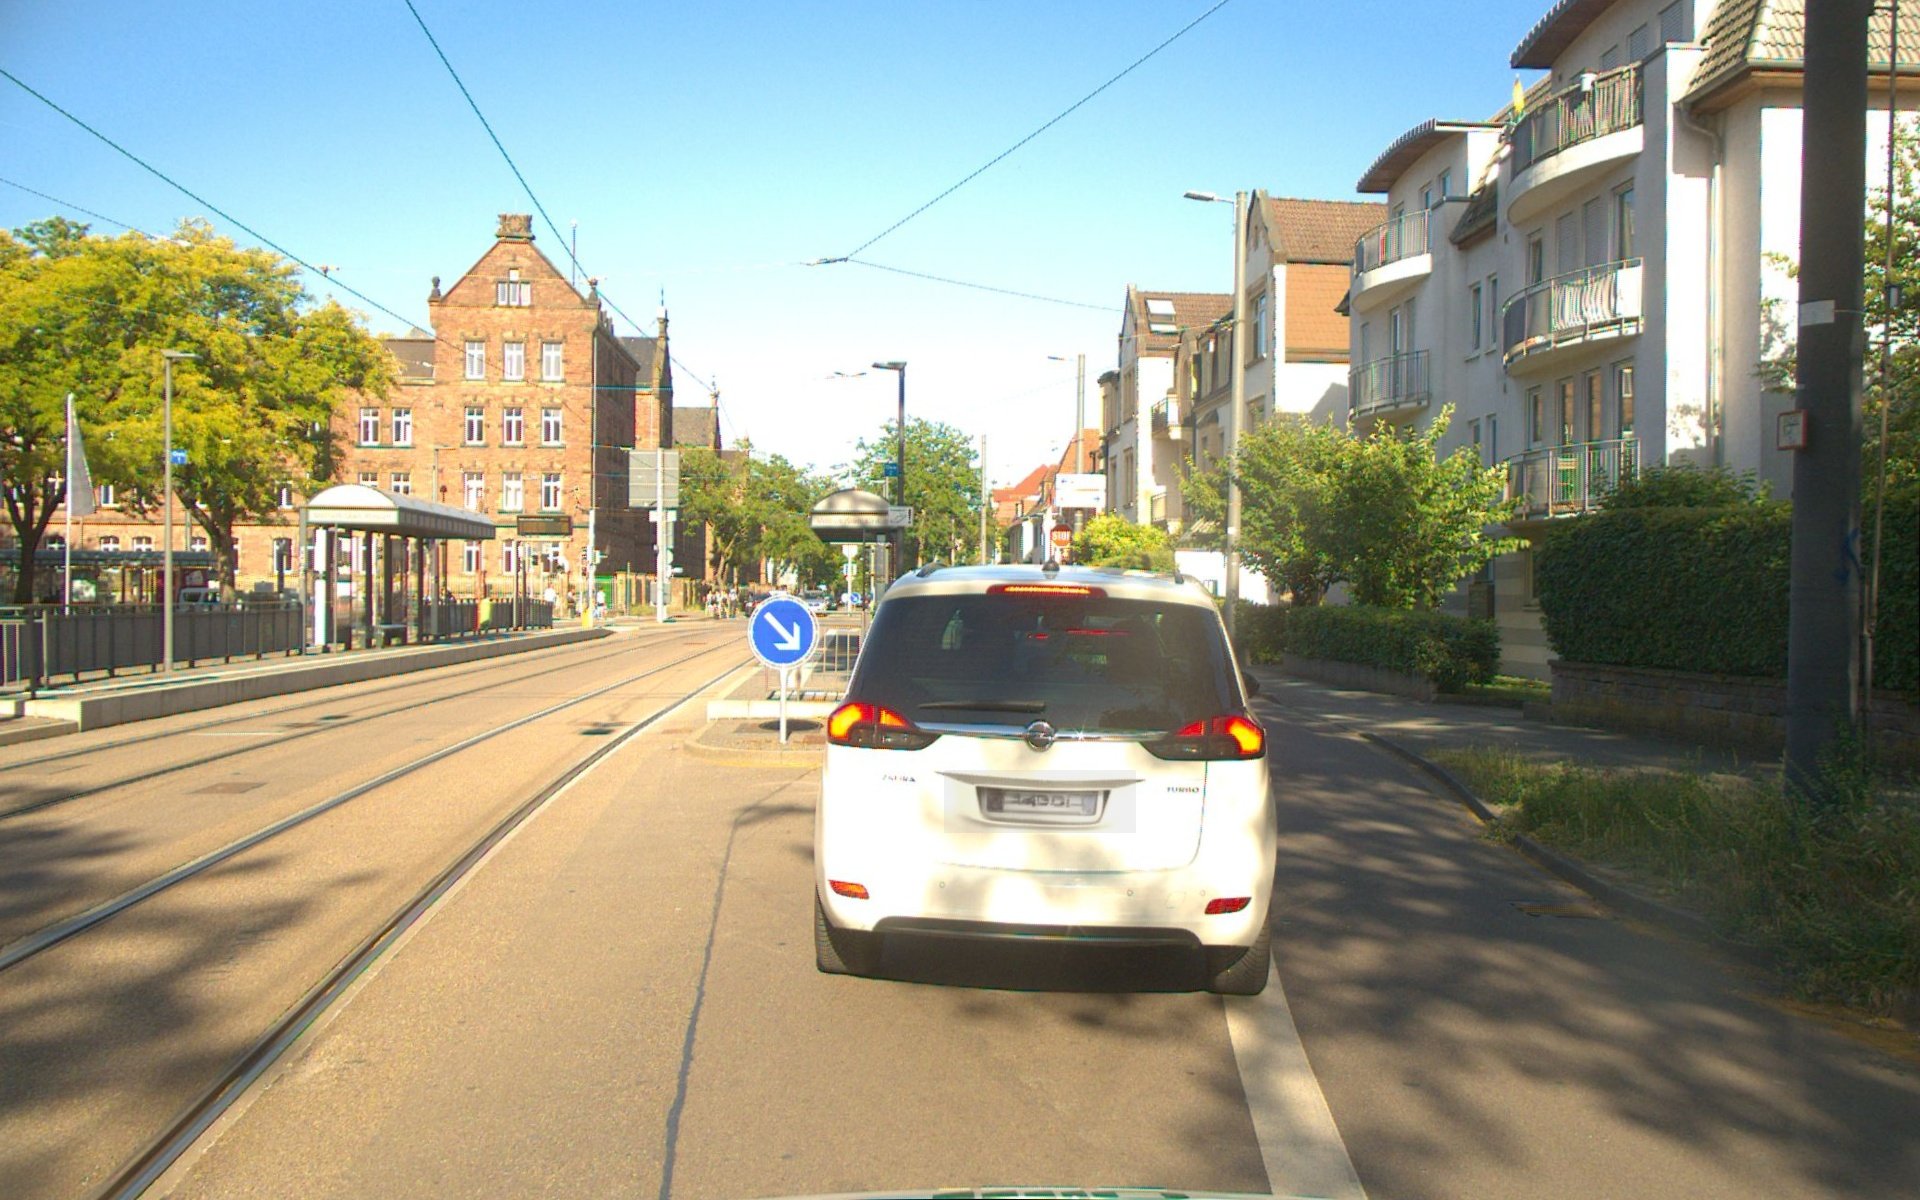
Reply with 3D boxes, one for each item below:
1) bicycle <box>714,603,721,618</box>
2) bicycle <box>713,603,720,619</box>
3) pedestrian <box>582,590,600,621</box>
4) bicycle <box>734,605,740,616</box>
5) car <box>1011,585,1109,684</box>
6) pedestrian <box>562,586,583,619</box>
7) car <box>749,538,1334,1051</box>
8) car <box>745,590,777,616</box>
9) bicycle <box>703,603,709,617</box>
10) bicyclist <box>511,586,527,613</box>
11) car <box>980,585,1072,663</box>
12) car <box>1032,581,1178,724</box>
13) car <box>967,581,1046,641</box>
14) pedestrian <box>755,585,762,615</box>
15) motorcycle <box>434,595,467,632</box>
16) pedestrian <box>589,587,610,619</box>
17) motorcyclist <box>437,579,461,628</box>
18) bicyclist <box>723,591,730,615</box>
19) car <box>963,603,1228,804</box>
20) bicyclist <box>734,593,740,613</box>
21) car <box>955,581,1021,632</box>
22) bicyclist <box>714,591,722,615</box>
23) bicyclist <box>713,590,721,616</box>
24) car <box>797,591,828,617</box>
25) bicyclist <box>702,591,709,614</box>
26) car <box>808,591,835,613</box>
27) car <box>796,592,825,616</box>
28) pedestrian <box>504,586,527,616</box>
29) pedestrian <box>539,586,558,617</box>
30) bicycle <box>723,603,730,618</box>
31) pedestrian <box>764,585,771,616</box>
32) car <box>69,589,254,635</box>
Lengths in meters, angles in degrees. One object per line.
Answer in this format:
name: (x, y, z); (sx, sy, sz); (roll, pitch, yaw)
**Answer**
bicycle: (-15.599, 0.667, 106.361); (0.337, 0.966, 0.996); (1, 0, -4)
bicycle: (-15.151, 0.660, 102.835); (0.337, 0.966, 1.159); (1, 0, -4)
pedestrian: (-21.208, 0.326, 95.058); (0.719, 1.744, 0.706); (1, -1, 22)
bicycle: (-15.049, 0.682, 111.421); (0.337, 0.737, 0.996); (1, 0, -4)
car: (1.717, 0.555, 29.265); (1.603, 1.629, 3.855); (0, 0, 1)
pedestrian: (-20.665, 0.142, 88.226); (0.825, 1.721, 1.029); (1, 0, -1)
car: (0.457, 0.650, 7.590); (1.951, 1.673, 3.996); (1, 0, 6)
car: (-12.844, 0.204, 106.882); (1.955, 1.657, 3.996); (0, 0, -5)
bicycle: (-17.642, 0.668, 114.854); (0.337, 0.966, 0.996); (1, 0, -4)
bicyclist: (-24.804, -0.027, 92.960); (0.743, 1.455, 0.515); (1, -1, -3)
car: (1.383, 0.497, 36.184); (1.793, 1.607, 4.009); (0, 0, -1)
car: (1.743, 0.589, 20.837); (1.603, 1.629, 3.855); (0, 0, 1)
car: (1.205, 0.263, 44.306); (1.953, 1.529, 3.999); (0, 0, -1)
pedestrian: (-13.633, 0.015, 111.713); (0.435, 2.049, 0.495); (0, 0, -4)
motorcycle: (-17.082, 0.451, 55.450); (0.599, 1.219, 2.073); (0, 0, -5)
pedestrian: (-19.301, 0.160, 88.659); (0.877, 1.713, 1.029); (1, 0, -1)
motorcyclist: (-17.071, 0.117, 55.293); (0.601, 1.650, 0.844); (0, 0, -5)
bicyclist: (-15.371, 0.207, 108.906); (0.435, 1.580, 0.495); (0, 0, -4)
car: (1.032, 0.751, 13.978); (1.912, 1.422, 4.001); (0, 0, 1)
bicyclist: (-15.046, 0.209, 111.418); (0.352, 1.326, 0.397); (0, 0, -4)
car: (0.835, 0.197, 51.761); (1.953, 1.529, 3.999); (0, 0, -1)
bicyclist: (-15.562, 0.193, 106.319); (0.435, 1.580, 0.495); (0, 0, -4)
bicyclist: (-15.142, 0.185, 103.043); (0.435, 1.580, 0.742); (0, 0, -4)
car: (-9.534, 0.254, 107.154); (1.955, 1.657, 3.996); (0, 0, -5)
bicyclist: (-17.636, 0.192, 114.818); (0.435, 1.580, 0.495); (0, 0, -4)
car: (-10.926, 0.152, 130.478); (1.953, 1.657, 3.998); (0, 0, -3)
car: (-10.338, 0.271, 114.248); (1.955, 1.657, 3.996); (0, 0, -5)
pedestrian: (-23.742, 0.060, 88.340); (0.926, 1.616, 0.793); (1, -1, -40)
pedestrian: (-22.016, 0.091, 88.518); (0.786, 1.616, 0.934); (1, 0, -3)
bicycle: (-15.381, 0.682, 108.913); (0.337, 0.966, 0.996); (1, 0, -4)
pedestrian: (-13.029, 0.027, 112.050); (0.435, 2.049, 0.495); (0, 0, -4)
car: (-35.717, 0.533, 74.188); (6.810, 1.954, 2.991); (0, 0, -2)
